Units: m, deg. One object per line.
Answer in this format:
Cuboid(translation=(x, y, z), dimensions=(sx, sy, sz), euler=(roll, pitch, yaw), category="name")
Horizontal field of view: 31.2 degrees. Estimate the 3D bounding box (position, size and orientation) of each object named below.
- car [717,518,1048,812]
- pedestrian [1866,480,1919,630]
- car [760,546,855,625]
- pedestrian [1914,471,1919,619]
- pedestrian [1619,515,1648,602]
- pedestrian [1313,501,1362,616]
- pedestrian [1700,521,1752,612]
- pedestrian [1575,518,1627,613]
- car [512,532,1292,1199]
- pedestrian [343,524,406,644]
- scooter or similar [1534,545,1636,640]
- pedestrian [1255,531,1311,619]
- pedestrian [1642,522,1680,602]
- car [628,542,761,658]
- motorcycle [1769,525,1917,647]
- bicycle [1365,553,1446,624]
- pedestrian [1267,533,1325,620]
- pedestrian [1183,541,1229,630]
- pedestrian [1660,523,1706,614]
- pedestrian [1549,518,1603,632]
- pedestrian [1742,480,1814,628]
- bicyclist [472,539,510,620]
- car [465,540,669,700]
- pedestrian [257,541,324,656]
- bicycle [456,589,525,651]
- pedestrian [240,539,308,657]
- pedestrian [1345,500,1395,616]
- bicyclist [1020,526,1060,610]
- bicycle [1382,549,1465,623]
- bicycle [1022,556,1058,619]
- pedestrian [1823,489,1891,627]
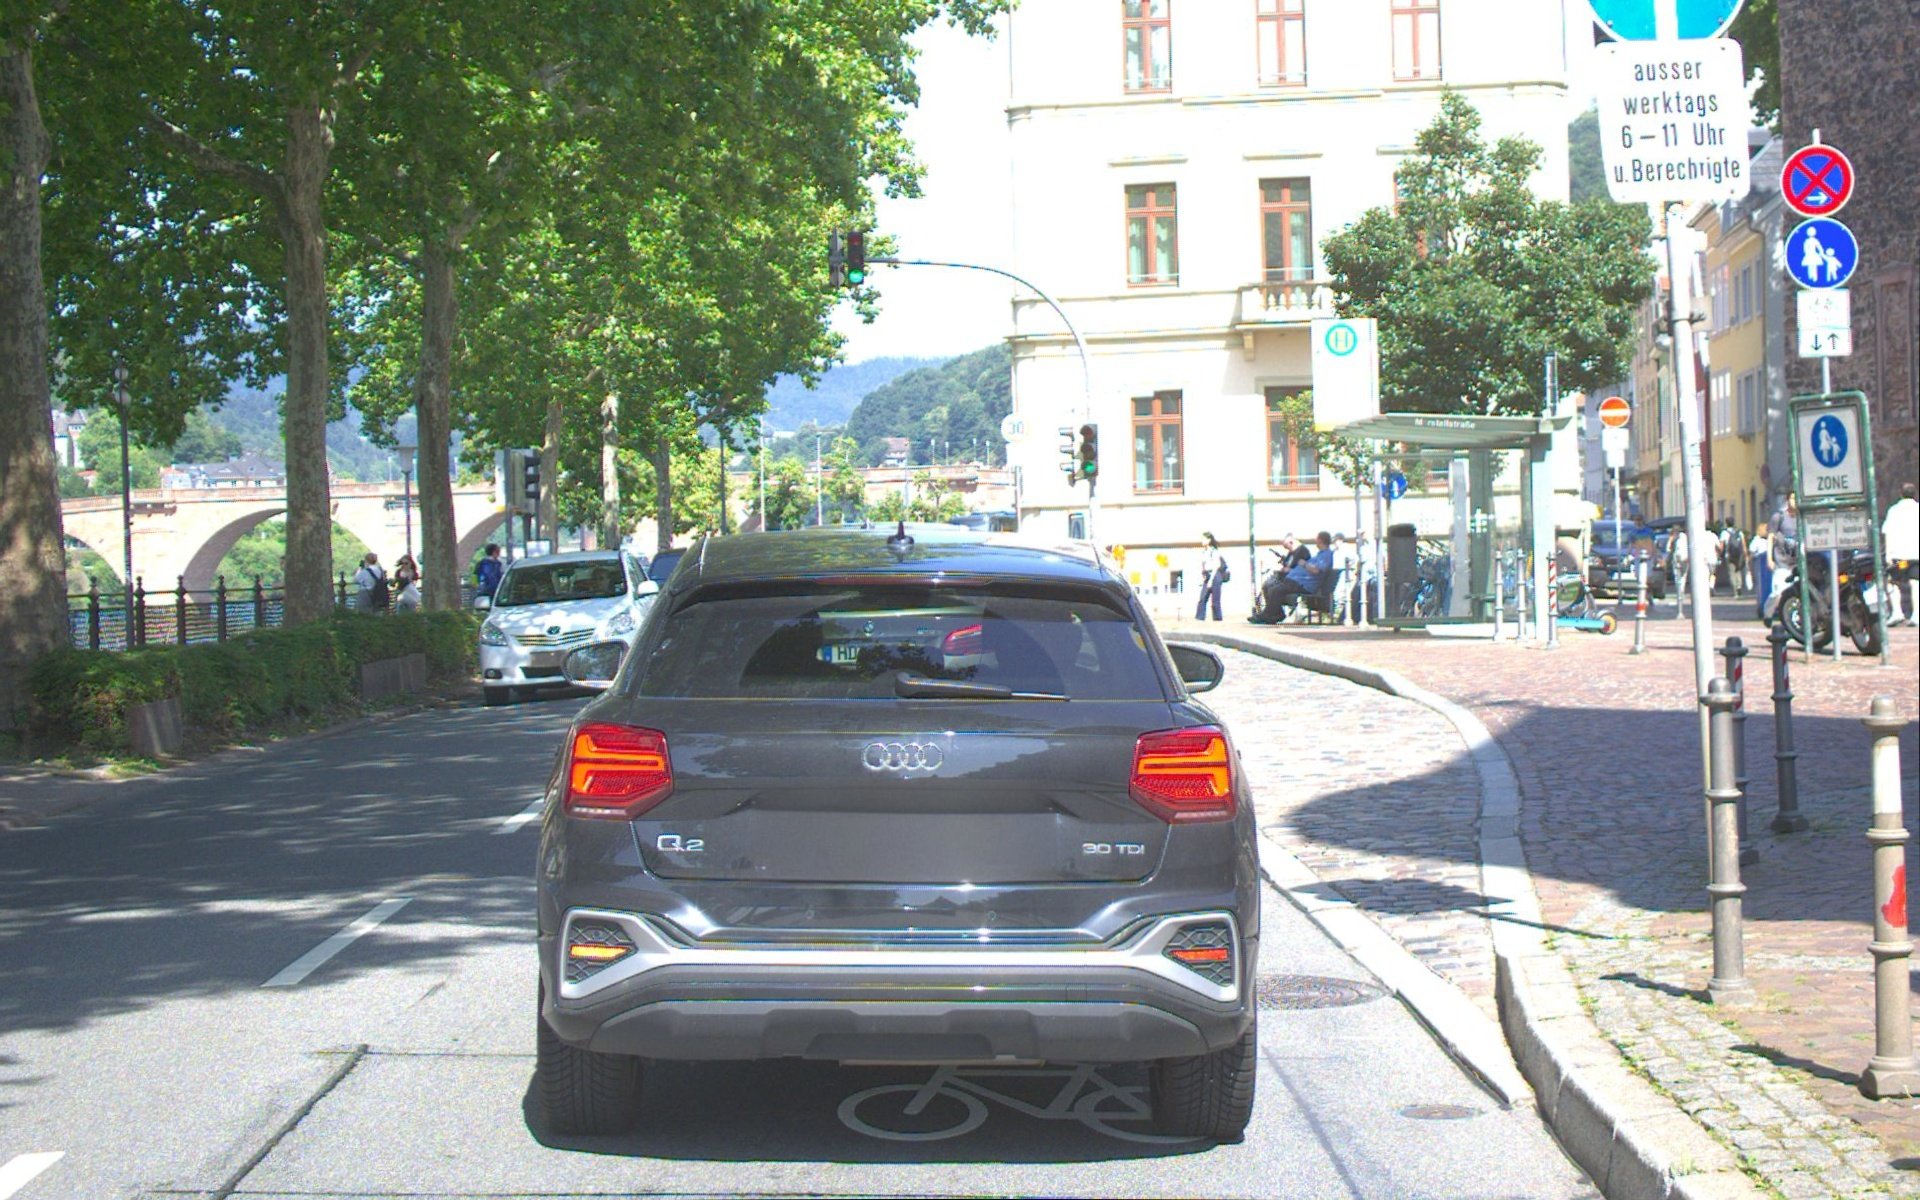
Cuboid(translation=(-0.444, 0.329, 20.570), dimensions=(1.793, 1.589, 3.399), euler=(1, 1, -1), category="car")
Cuboid(translation=(11.969, -0.564, 43.679), dimensions=(0.668, 1.877, 0.821), euler=(1, 0, -2), category="pedestrian")
Cuboid(translation=(-3.593, -0.347, 81.502), dimensions=(1.993, 1.800, 4.000), euler=(1, 0, 1), category="car")
Cuboid(translation=(12.758, -0.702, 44.288), dimensions=(0.668, 1.913, 0.821), euler=(1, 0, -2), category="pedestrian")
Cuboid(translation=(12.939, -0.793, 66.069), dimensions=(0.449, 1.675, 0.466), euler=(1, 0, 1), category="pedestrian")
Cuboid(translation=(6.643, -0.723, 60.508), dimensions=(0.640, 2.007, 0.664), euler=(1, 0, 29), category="pedestrian")
Cuboid(translation=(17.028, -0.741, 76.434), dimensions=(0.940, 2.007, 0.807), euler=(1, 0, 0), category="pedestrian")
Cuboid(translation=(13.790, -0.738, 73.958), dimensions=(0.944, 2.007, 0.807), euler=(1, 0, 0), category="pedestrian")
Cuboid(translation=(-0.153, 0.575, 9.600), dimensions=(1.743, 1.504, 3.647), euler=(1, 1, -1), category="car")
Cuboid(translation=(-9.825, -0.271, 57.752), dimensions=(0.911, 2.007, 0.585), euler=(1, 0, 4), category="pedestrian")
Cuboid(translation=(7.110, -0.088, 39.132), dimensions=(1.088, 1.062, 0.323), euler=(1, 0, -2), category="scooter or similar")
Cuboid(translation=(4.567, -0.355, 48.630), dimensions=(0.663, 1.227, 0.641), euler=(1, 0, -6), category="pedestrian")
Cuboid(translation=(13.464, -0.724, 66.048), dimensions=(0.622, 1.526, 0.466), euler=(1, 0, 3), category="pedestrian")
Cuboid(translation=(-4.534, -0.029, 59.177), dimensions=(1.813, 1.719, 4.422), euler=(-6, 1, 0), category="car")
Cuboid(translation=(7.674, -0.140, 29.965), dimensions=(0.566, 1.009, 2.490), euler=(-1, 1, -2), category="motorcycle")
Cuboid(translation=(6.404, -0.165, 49.392), dimensions=(1.184, 1.012, 0.179), euler=(1, 0, -19), category="bicycle")
Cuboid(translation=(4.676, -0.326, 47.851), dimensions=(0.663, 1.207, 0.641), euler=(1, 0, -6), category="pedestrian")
Cuboid(translation=(4.182, -0.245, 58.407), dimensions=(0.693, 1.495, 0.514), euler=(1, 0, -4), category="pedestrian")
Cuboid(translation=(16.084, -0.698, 76.514), dimensions=(0.839, 2.007, 0.738), euler=(1, 0, 0), category="pedestrian")
Cuboid(translation=(7.598, -0.308, 42.403), dimensions=(0.557, 1.380, 0.588), euler=(1, 0, 2), category="pedestrian")
Cuboid(translation=(10.562, -0.594, 44.397), dimensions=(0.747, 1.884, 0.752), euler=(1, 0, 2), category="pedestrian")
Cuboid(translation=(-7.607, -0.332, 55.765), dimensions=(0.566, 1.307, 0.552), euler=(1, 0, -5), category="bicyclist")
Cuboid(translation=(-4.333, 0.176, 38.406), dimensions=(1.738, 1.566, 4.092), euler=(-4, 1, 0), category="car")
Cuboid(translation=(-10.680, -0.029, 54.838), dimensions=(0.911, 1.805, 0.586), euler=(1, 0, 4), category="pedestrian")
Cuboid(translation=(-7.608, 0.328, 55.748), dimensions=(1.093, 1.003, 0.304), euler=(0, 0, -7), category="bicycle")
Cuboid(translation=(-10.777, -0.037, 54.001), dimensions=(0.911, 1.838, 0.585), euler=(1, 0, 4), category="pedestrian")
Cuboid(translation=(7.152, -0.730, 59.943), dimensions=(0.640, 2.007, 0.664), euler=(1, 0, 29), category="pedestrian")
Cuboid(translation=(1.395, -0.548, 59.855), dimensions=(0.605, 1.445, 0.591), euler=(1, 0, -5), category="bicyclist")
Cuboid(translation=(6.569, -0.196, 48.734), dimensions=(1.201, 1.031, 0.179), euler=(1, 0, -19), category="bicycle")
Cuboid(translation=(1.385, -0.215, 59.788), dimensions=(0.437, 1.082, 1.677), euler=(1, 0, -5), category="bicycle")
Cuboid(translation=(11.803, -0.557, 45.254), dimensions=(0.652, 1.796, 0.847), euler=(0, 1, -1), category="pedestrian")
